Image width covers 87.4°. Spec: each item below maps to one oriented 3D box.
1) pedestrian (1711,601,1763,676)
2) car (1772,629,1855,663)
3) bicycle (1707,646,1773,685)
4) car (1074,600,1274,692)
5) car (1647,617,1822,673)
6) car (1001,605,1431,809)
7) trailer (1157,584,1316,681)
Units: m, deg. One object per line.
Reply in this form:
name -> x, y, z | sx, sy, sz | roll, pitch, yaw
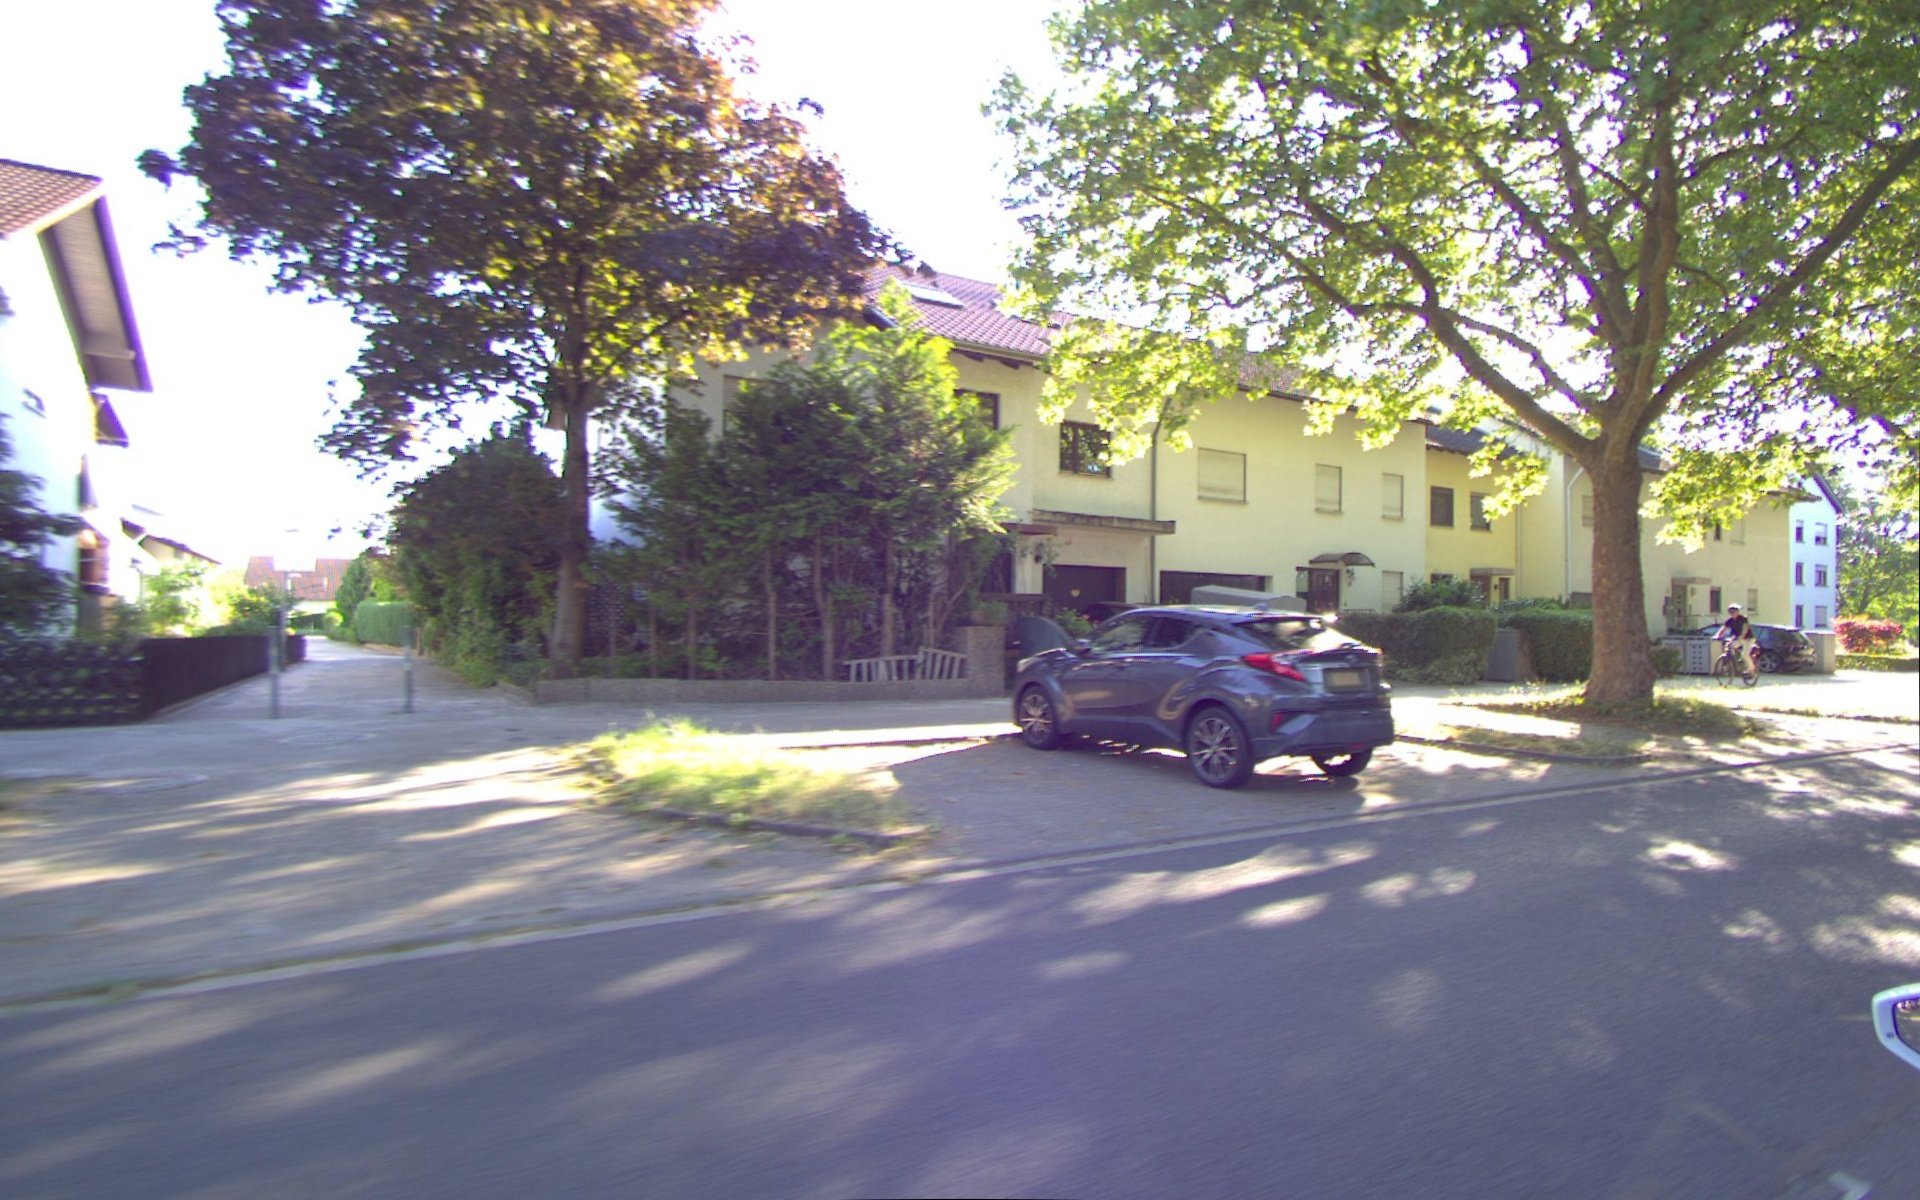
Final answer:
pedestrian -> 18.438, 0.913, 23.846 | 1.052, 1.739, 0.614 | 1, -1, -29
car -> 42.431, 2.273, 49.905 | 3.954, 1.595, 1.984 | 2, -1, -31
bicycle -> 18.518, 1.538, 23.837 | 2.130, 0.892, 0.467 | 2, -1, -30
car -> 4.370, 0.888, 21.112 | 1.976, 1.497, 3.969 | 1, 3, -29
car -> 24.693, 1.405, 32.173 | 1.877, 1.484, 3.970 | 2, 1, -28
car -> 2.247, 0.840, 9.842 | 1.797, 1.538, 3.967 | 1, 0, -31
trailer -> 6.451, 0.679, 23.776 | 1.624, 1.952, 3.436 | 0, 4, -30
